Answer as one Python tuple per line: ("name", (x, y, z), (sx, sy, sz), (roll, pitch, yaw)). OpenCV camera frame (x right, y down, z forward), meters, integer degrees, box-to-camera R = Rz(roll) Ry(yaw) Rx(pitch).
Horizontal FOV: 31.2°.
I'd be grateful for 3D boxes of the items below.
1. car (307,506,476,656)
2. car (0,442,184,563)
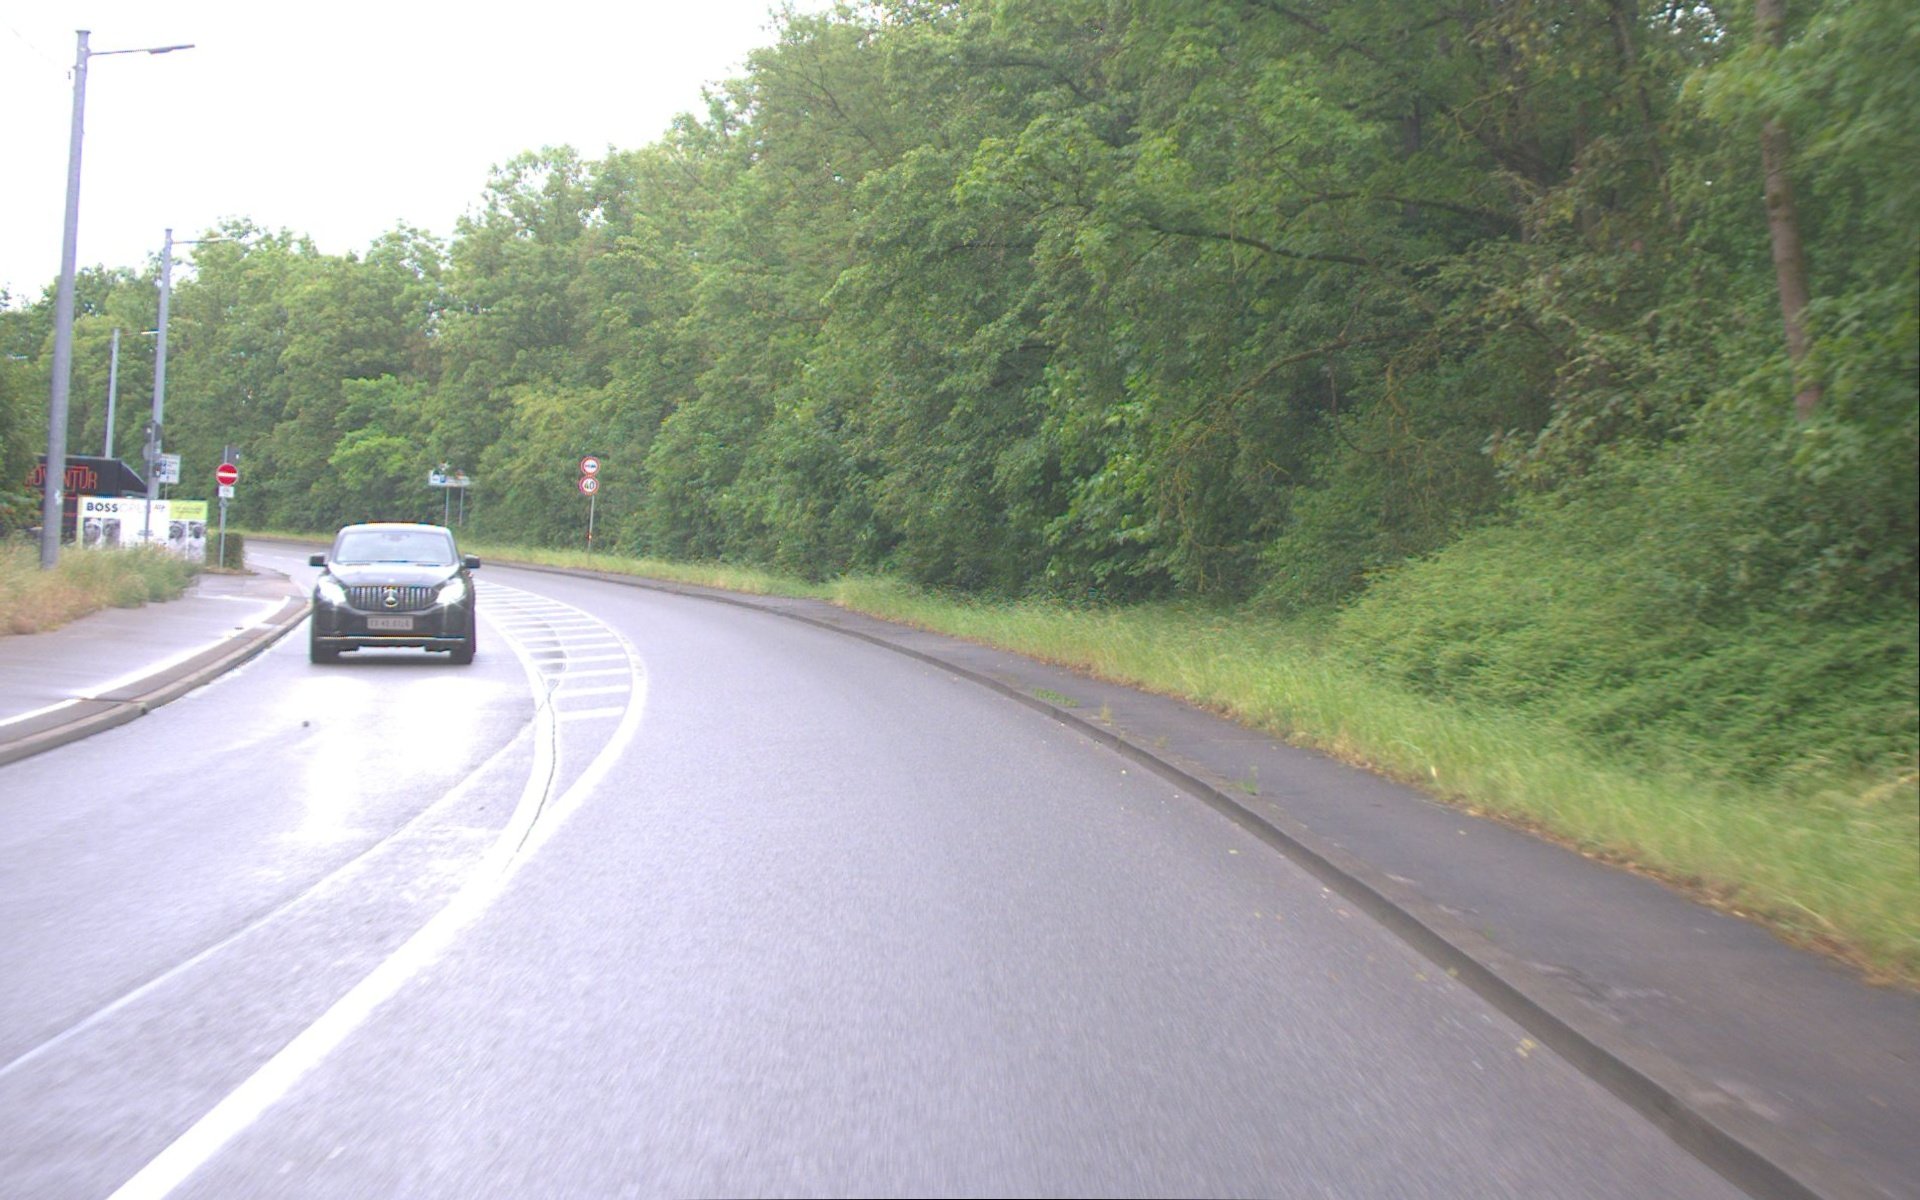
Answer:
("car", (-7.241, -0.281, 43.875), (1.993, 1.781, 4.709), (1, 1, -9))
("car", (-26.458, -2.915, 103.154), (5.945, 3.490, 2.001), (1, 1, -20))
